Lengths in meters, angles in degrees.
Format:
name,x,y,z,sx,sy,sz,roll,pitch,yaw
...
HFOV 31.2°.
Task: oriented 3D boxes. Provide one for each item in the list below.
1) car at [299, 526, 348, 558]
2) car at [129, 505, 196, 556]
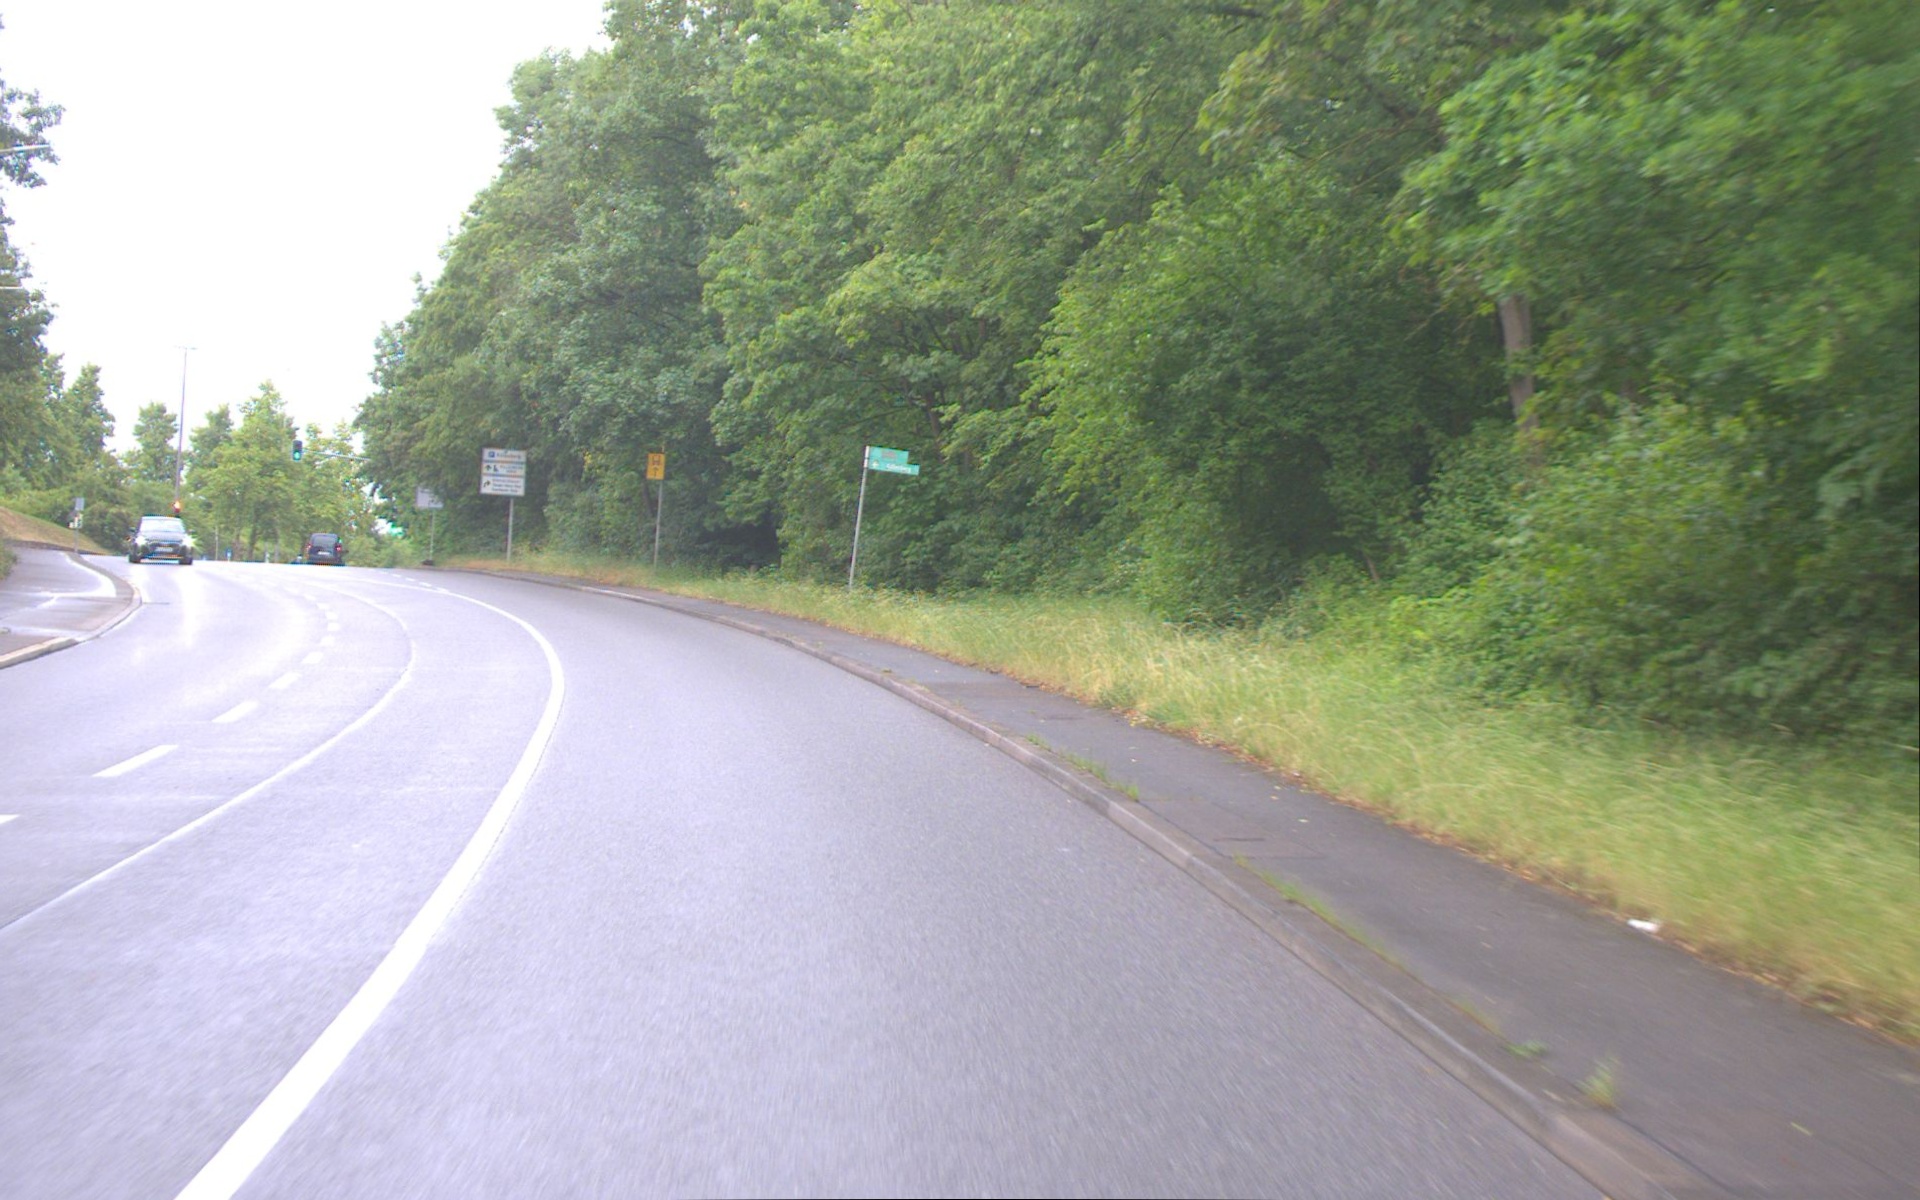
name,x,y,z,sx,sy,sz,roll,pitch,yaw
car,-30.560,-2.798,165.139,1.934,1.493,4.319,2,1,-6
car,-24.450,-2.135,105.467,1.934,1.493,4.319,1,1,-13
